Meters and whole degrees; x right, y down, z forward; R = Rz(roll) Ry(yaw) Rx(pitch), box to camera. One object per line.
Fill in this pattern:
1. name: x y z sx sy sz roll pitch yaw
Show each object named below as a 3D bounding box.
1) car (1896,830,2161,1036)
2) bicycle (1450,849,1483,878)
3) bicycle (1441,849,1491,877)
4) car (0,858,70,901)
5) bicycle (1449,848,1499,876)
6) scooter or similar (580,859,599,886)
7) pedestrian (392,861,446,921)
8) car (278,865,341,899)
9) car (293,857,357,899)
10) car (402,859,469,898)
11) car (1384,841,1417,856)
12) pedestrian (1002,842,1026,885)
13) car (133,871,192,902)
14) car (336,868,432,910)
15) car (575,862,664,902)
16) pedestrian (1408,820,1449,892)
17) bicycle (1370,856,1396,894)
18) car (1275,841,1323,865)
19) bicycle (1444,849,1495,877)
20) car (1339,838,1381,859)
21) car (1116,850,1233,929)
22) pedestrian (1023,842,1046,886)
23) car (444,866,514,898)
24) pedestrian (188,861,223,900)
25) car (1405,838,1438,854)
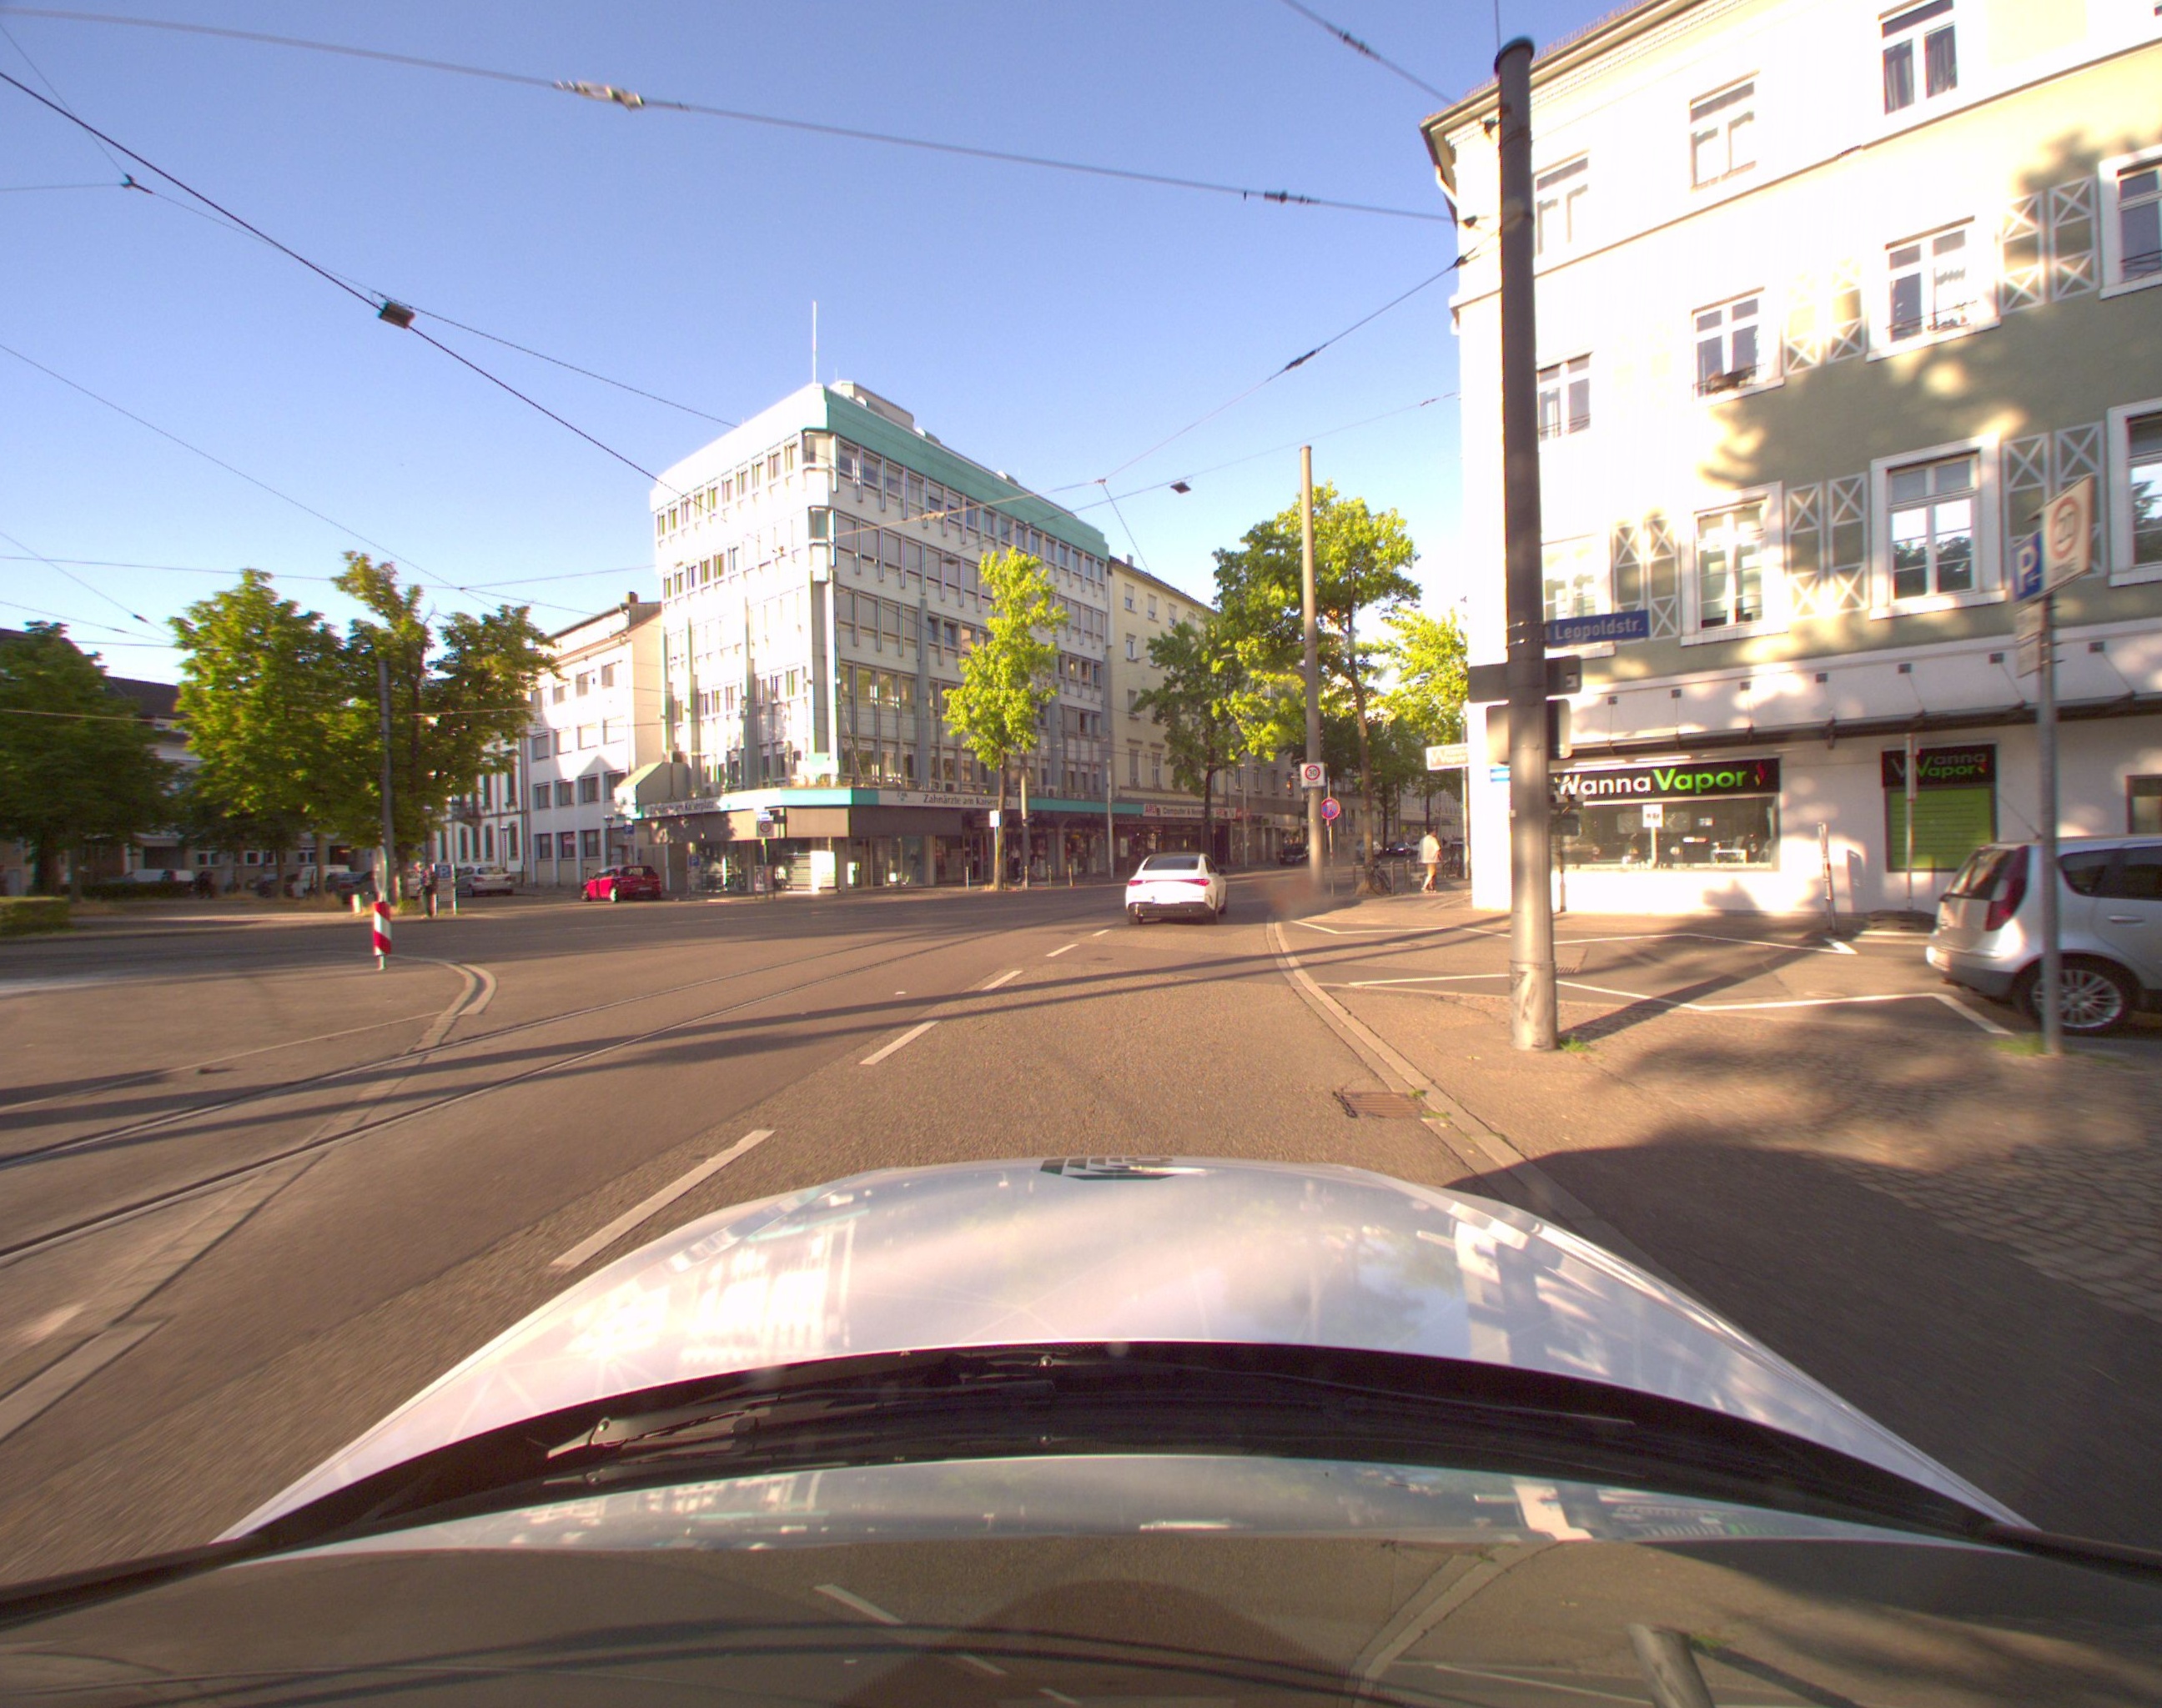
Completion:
1. car: 8.995 0.556 6.299 3.531 1.514 1.750 -1 0 36
2. bicycle: 15.675 0.383 33.111 0.459 1.154 1.680 -1 0 -3
3. bicycle: 16.082 0.385 34.038 1.848 1.154 0.350 -1 0 39
4. car: -52.942 1.256 39.754 1.978 2.013 4.018 -1 0 17
5. bicycle: 16.872 0.349 35.002 1.848 1.154 0.566 -1 0 39
6. scooter or similar: -26.171 0.971 43.374 0.757 1.398 1.910 -1 0 -28
7. pedestrian: -19.850 1.090 24.450 1.168 1.702 0.897 -1 -1 -36
8. car: -42.928 1.520 45.286 3.948 1.728 2.013 -1 0 39
9. car: -38.737 1.214 41.707 3.949 2.013 2.012 -1 0 42
10. car: -36.138 1.344 45.593 3.948 2.013 2.013 -1 0 37
11. car: 31.466 -0.569 80.096 1.943 1.412 4.878 -1 0 34
12. pedestrian: -3.175 0.465 38.605 0.789 2.013 0.739 -1 0 38
13. car: -63.418 2.230 56.233 3.948 2.013 2.013 -1 0 31
14. car: -30.304 1.494 35.397 3.948 1.684 2.013 -1 0 31
15. car: -18.743 1.085 33.017 3.949 1.485 2.039 -1 0 43
16. pedestrian: 9.976 0.056 23.375 0.833 2.013 0.852 -1 0 40
17. bicycle: 8.994 0.600 24.240 0.351 1.076 1.710 -1 0 33
18. car: 15.868 -0.076 59.263 1.943 1.640 4.026 -1 0 38
19. bicycle: 16.420 0.384 34.475 1.848 1.154 0.566 -1 0 39
20. car: 23.746 -0.492 69.290 1.943 1.639 4.843 2 2 37
21. car: 2.133 0.685 17.592 1.854 1.469 4.059 -1 0 16
22. pedestrian: -2.188 0.462 38.202 0.789 2.013 0.739 -1 0 38
23. car: -30.911 1.423 41.792 3.948 1.530 2.013 -1 0 40
24. pedestrian: -47.279 1.416 43.982 1.446 2.013 1.126 -1 0 37
25. car: 36.309 -0.900 86.770 1.928 1.640 4.940 0 1 38
